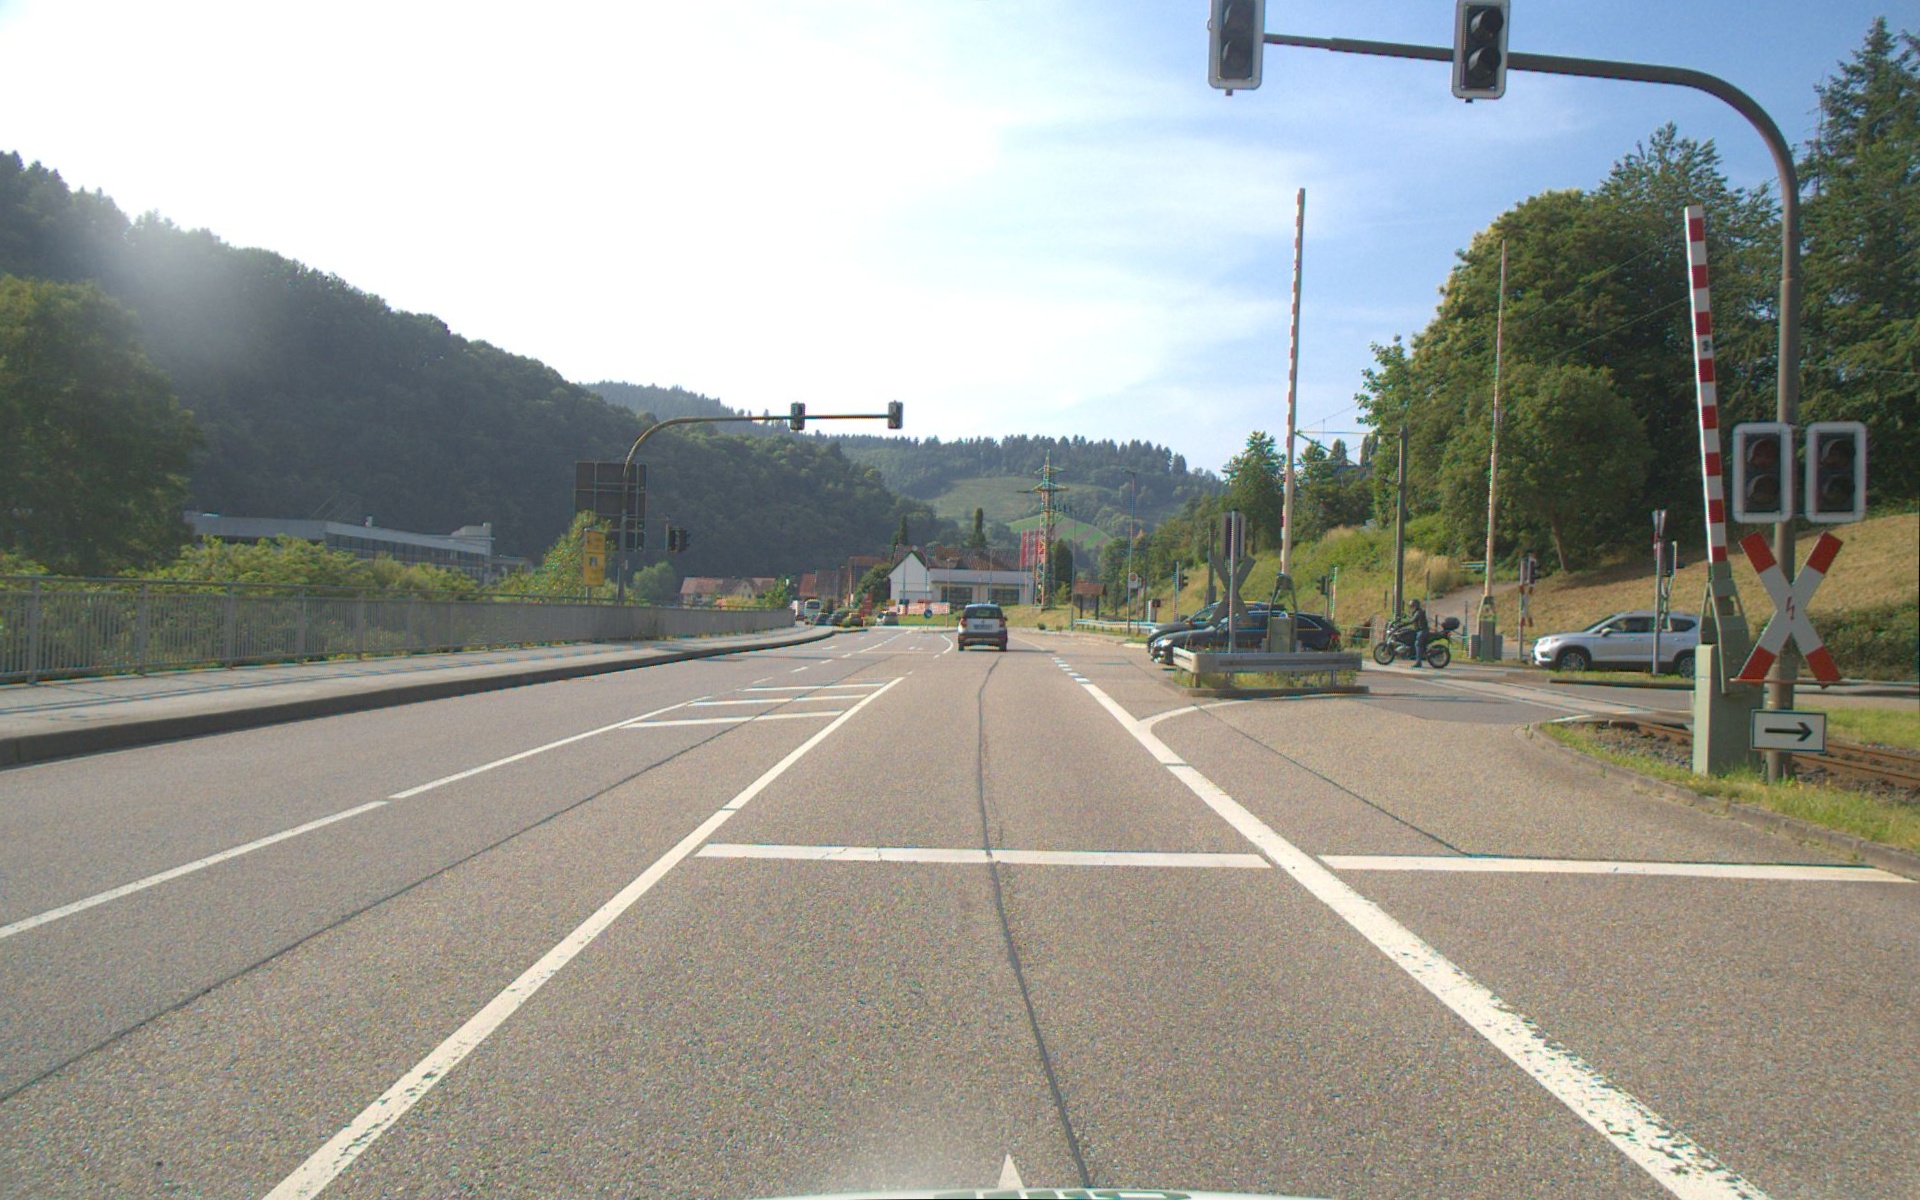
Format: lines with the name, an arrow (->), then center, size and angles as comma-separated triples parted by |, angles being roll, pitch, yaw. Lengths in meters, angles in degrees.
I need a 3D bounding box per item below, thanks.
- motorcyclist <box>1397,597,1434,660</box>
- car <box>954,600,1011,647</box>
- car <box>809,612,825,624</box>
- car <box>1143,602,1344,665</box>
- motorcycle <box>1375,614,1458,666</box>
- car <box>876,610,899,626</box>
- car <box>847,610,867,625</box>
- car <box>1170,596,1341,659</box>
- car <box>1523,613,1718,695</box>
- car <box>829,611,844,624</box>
motorcyclist -> 12.154, 0.749, 44.115 | 0.887, 1.624, 0.766 | 2, 0, 17
car -> 0.852, 0.854, 59.765 | 1.822, 1.571, 4.374 | 2, -1, 3
car -> -17.947, 2.271, 207.435 | 1.431, 1.460, 2.921 | 2, 0, -18
car -> 6.825, 0.807, 40.180 | 4.627, 1.496, 1.842 | 0, 0, 3
motorcycle -> 12.168, 1.060, 44.111 | 2.049, 1.276, 0.799 | 2, 0, 19
car -> -7.049, 1.764, 160.516 | 1.430, 1.460, 2.922 | 2, 0, -17
car -> -10.978, 1.880, 176.512 | 1.431, 1.460, 2.921 | 2, 0, -18
car -> 8.277, 0.759, 46.476 | 4.625, 1.689, 1.932 | 0, 0, 10
car -> 15.631, 1.241, 39.318 | 4.025, 1.716, 1.836 | 2, 0, 14
car -> -14.213, 2.053, 190.423 | 1.214, 1.460, 2.627 | 0, 0, -18
